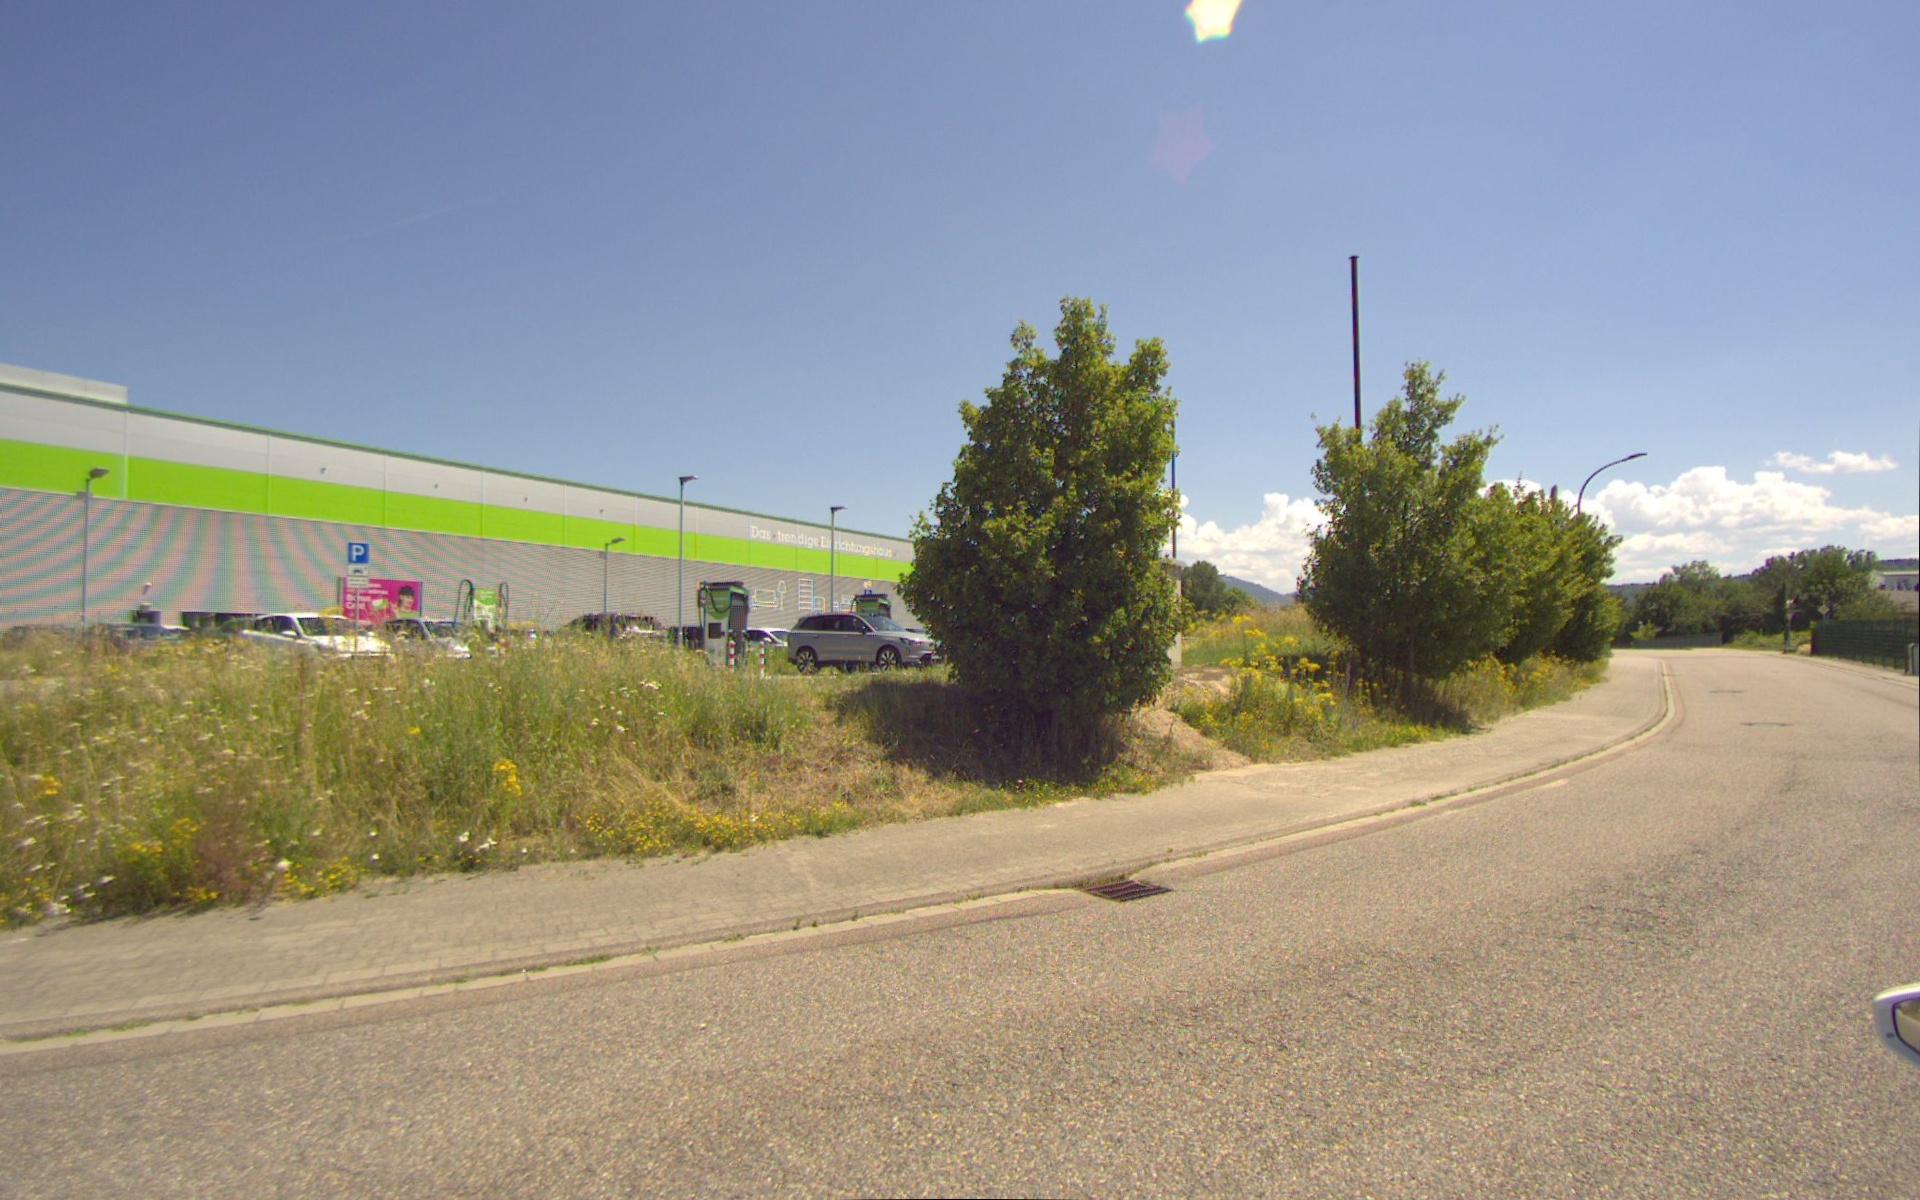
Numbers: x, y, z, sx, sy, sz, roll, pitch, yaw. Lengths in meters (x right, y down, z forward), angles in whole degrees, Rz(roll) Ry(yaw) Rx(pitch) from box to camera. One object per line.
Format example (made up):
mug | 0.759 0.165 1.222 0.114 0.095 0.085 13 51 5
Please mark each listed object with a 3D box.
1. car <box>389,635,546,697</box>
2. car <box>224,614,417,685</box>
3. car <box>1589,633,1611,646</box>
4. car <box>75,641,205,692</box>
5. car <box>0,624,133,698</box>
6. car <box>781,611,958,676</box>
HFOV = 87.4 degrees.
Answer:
car | -12.079 1.584 24.611 3.731 1.417 1.640 -2 -3 29
car | -14.167 1.097 22.251 3.928 1.431 1.997 -2 -3 29
car | 71.079 4.365 111.554 1.749 1.467 3.446 -1 -2 28
car | -23.040 1.852 28.189 3.928 1.342 1.489 -2 -3 29
car | -23.796 1.569 26.305 3.928 1.800 1.997 -2 -3 29
car | -2.598 1.242 28.255 4.757 1.679 1.995 -2 -3 33
